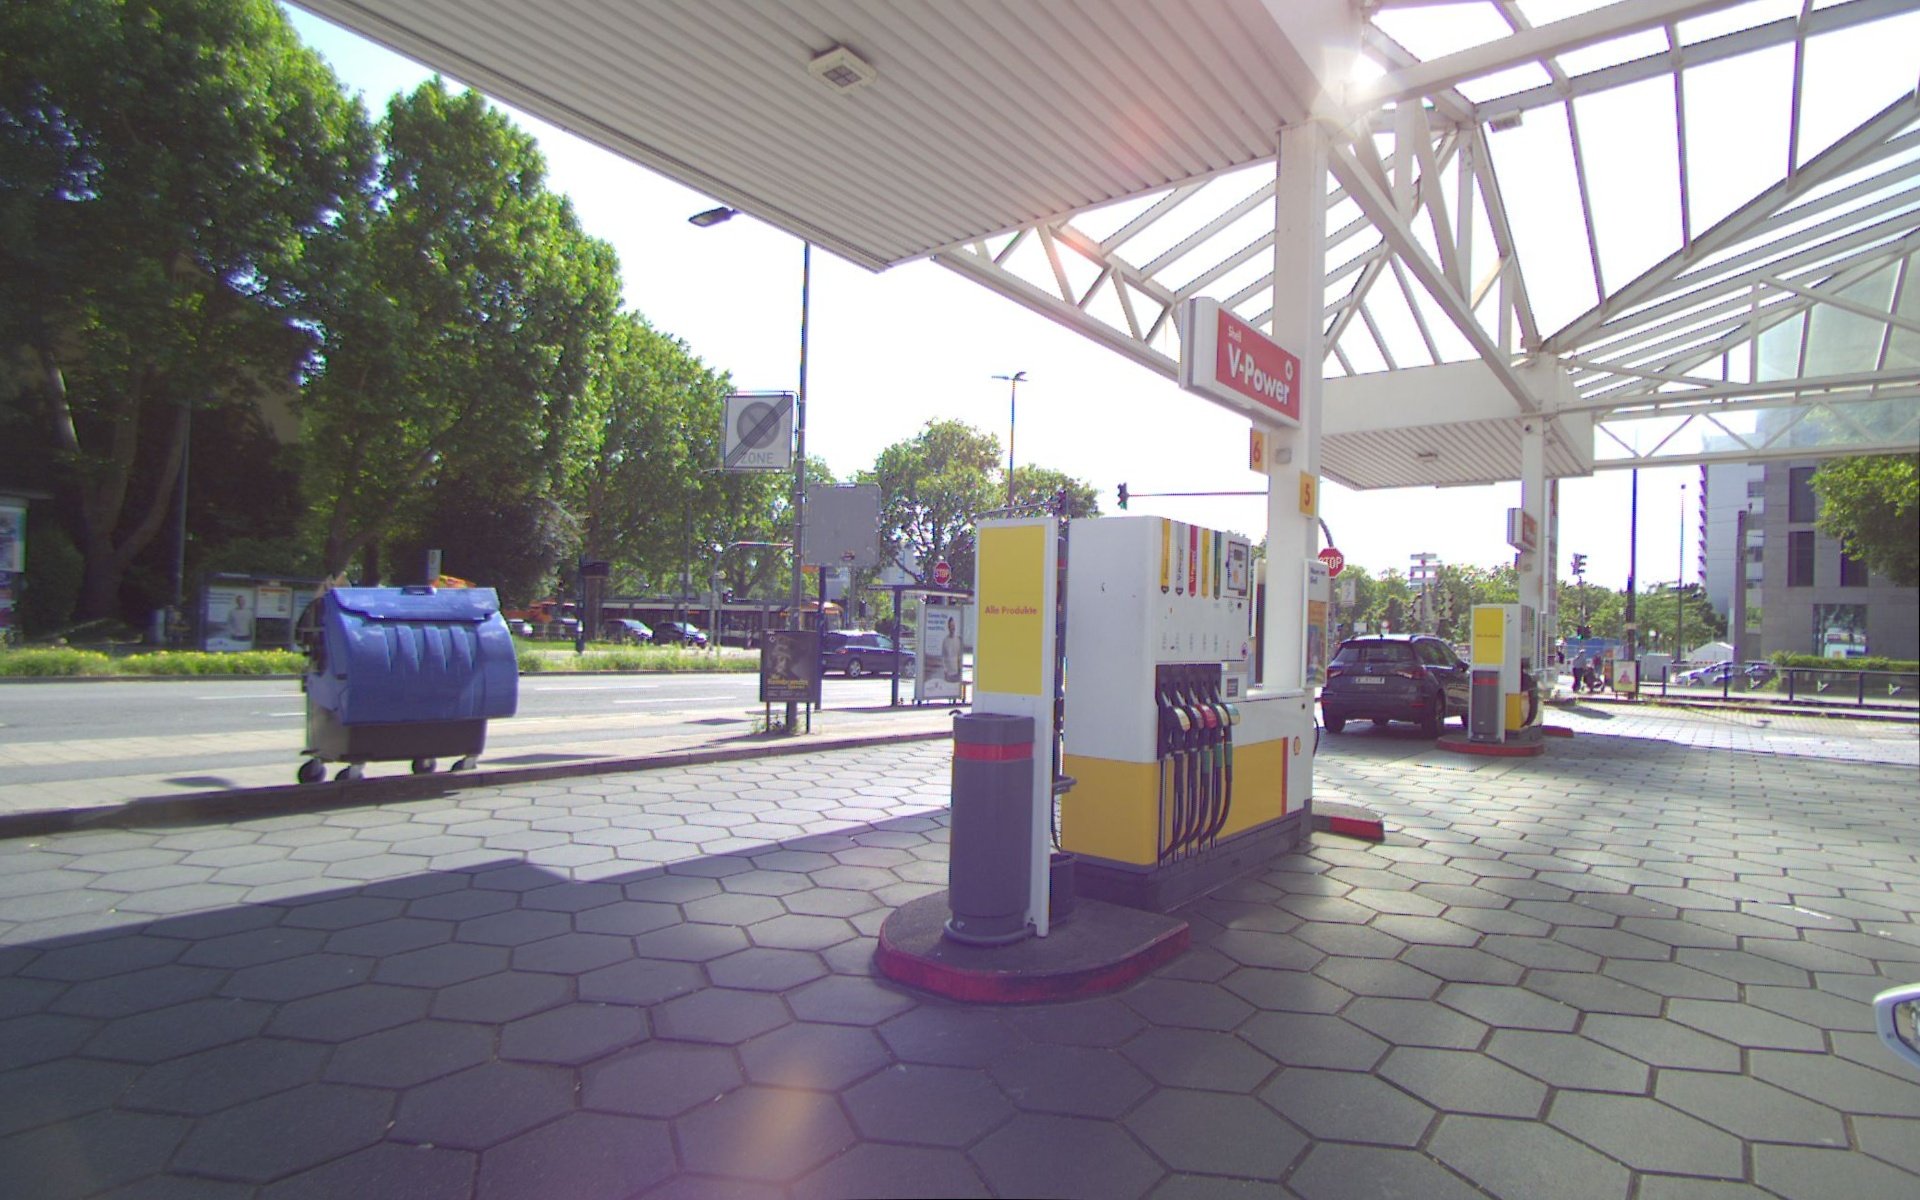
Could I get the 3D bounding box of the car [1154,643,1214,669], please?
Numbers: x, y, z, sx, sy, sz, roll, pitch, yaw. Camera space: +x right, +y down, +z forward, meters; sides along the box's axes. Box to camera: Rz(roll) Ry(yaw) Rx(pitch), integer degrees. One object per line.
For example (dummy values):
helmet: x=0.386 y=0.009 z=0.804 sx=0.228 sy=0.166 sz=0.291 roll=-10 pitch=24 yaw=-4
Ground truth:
car: x=16.450 y=4.146 z=73.774 sx=4.166 sy=1.828 sz=1.983 roll=3 pitch=-4 yaw=-33

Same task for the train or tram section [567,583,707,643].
train or tram section: x=-26.696 y=1.005 z=82.266 sx=15.675 sy=4.548 sz=2.320 roll=0 pitch=-3 yaw=38

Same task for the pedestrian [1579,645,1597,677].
pedestrian: x=31.235 y=3.020 z=49.955 sx=0.499 sy=1.561 sz=0.644 roll=3 pitch=-2 yaw=-43

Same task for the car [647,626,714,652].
car: x=-17.524 y=2.475 z=62.903 sx=3.931 sy=1.532 sz=1.865 roll=-2 pitch=-4 yaw=32

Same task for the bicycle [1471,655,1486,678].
bicycle: x=25.542 y=3.271 z=49.473 sx=0.628 sy=1.096 sz=2.023 roll=1 pitch=-2 yaw=28

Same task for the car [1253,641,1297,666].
car: x=26.326 y=4.506 z=83.804 sx=1.970 sy=2.040 sz=4.427 roll=-2 pitch=-4 yaw=40

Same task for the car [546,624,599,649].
car: x=-27.727 y=2.631 z=71.805 sx=3.940 sy=1.711 sz=1.861 roll=-2 pitch=-4 yaw=39

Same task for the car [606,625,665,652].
car: x=-21.738 y=2.588 z=67.245 sx=3.940 sy=1.711 sz=1.861 roll=-2 pitch=-4 yaw=39

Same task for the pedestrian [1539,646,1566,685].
pedestrian: x=26.631 y=2.957 z=45.130 sx=0.498 sy=1.705 sz=0.925 roll=3 pitch=-2 yaw=-36

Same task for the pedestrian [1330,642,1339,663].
pedestrian: x=26.919 y=3.793 z=72.113 sx=0.554 sy=1.488 sz=0.513 roll=1 pitch=-2 yaw=23

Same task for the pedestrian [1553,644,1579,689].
pedestrian: x=23.261 y=2.549 z=38.574 sx=0.764 sy=1.705 sz=0.503 roll=1 pitch=-1 yaw=23

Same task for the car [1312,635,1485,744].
car: x=7.255 y=1.398 z=16.428 sx=1.722 sy=1.551 sz=3.986 roll=-1 pitch=-4 yaw=37

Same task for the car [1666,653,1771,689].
car: x=36.939 y=3.436 z=49.048 sx=3.931 sy=1.572 sz=1.699 roll=1 pitch=-2 yaw=33

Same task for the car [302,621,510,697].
car: x=-14.525 y=1.542 z=26.537 sx=1.969 sy=1.792 sz=4.373 roll=0 pitch=-2 yaw=38

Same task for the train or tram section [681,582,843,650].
train or tram section: x=-14.684 y=1.138 z=72.937 sx=14.709 sy=4.548 sz=2.320 roll=0 pitch=-3 yaw=38

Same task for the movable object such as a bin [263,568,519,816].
movable object such as a bin: x=-4.453 y=0.688 z=7.889 sx=1.322 sy=1.709 sz=1.331 roll=-3 pitch=-4 yaw=39

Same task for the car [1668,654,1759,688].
car: x=38.651 y=3.625 z=51.617 sx=3.631 sy=1.572 sz=1.588 roll=1 pitch=-2 yaw=33

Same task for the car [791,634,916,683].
car: x=-3.328 y=1.860 z=32.095 sx=1.658 sy=1.384 sz=3.987 roll=3 pitch=-1 yaw=37

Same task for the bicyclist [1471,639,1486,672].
bicyclist: x=25.608 y=2.731 z=49.583 sx=0.628 sy=1.601 sz=1.171 roll=1 pitch=-2 yaw=28

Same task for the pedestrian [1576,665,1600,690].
pedestrian: x=23.922 y=2.961 z=38.275 sx=0.679 sy=0.892 sz=0.503 roll=1 pitch=-2 yaw=22
